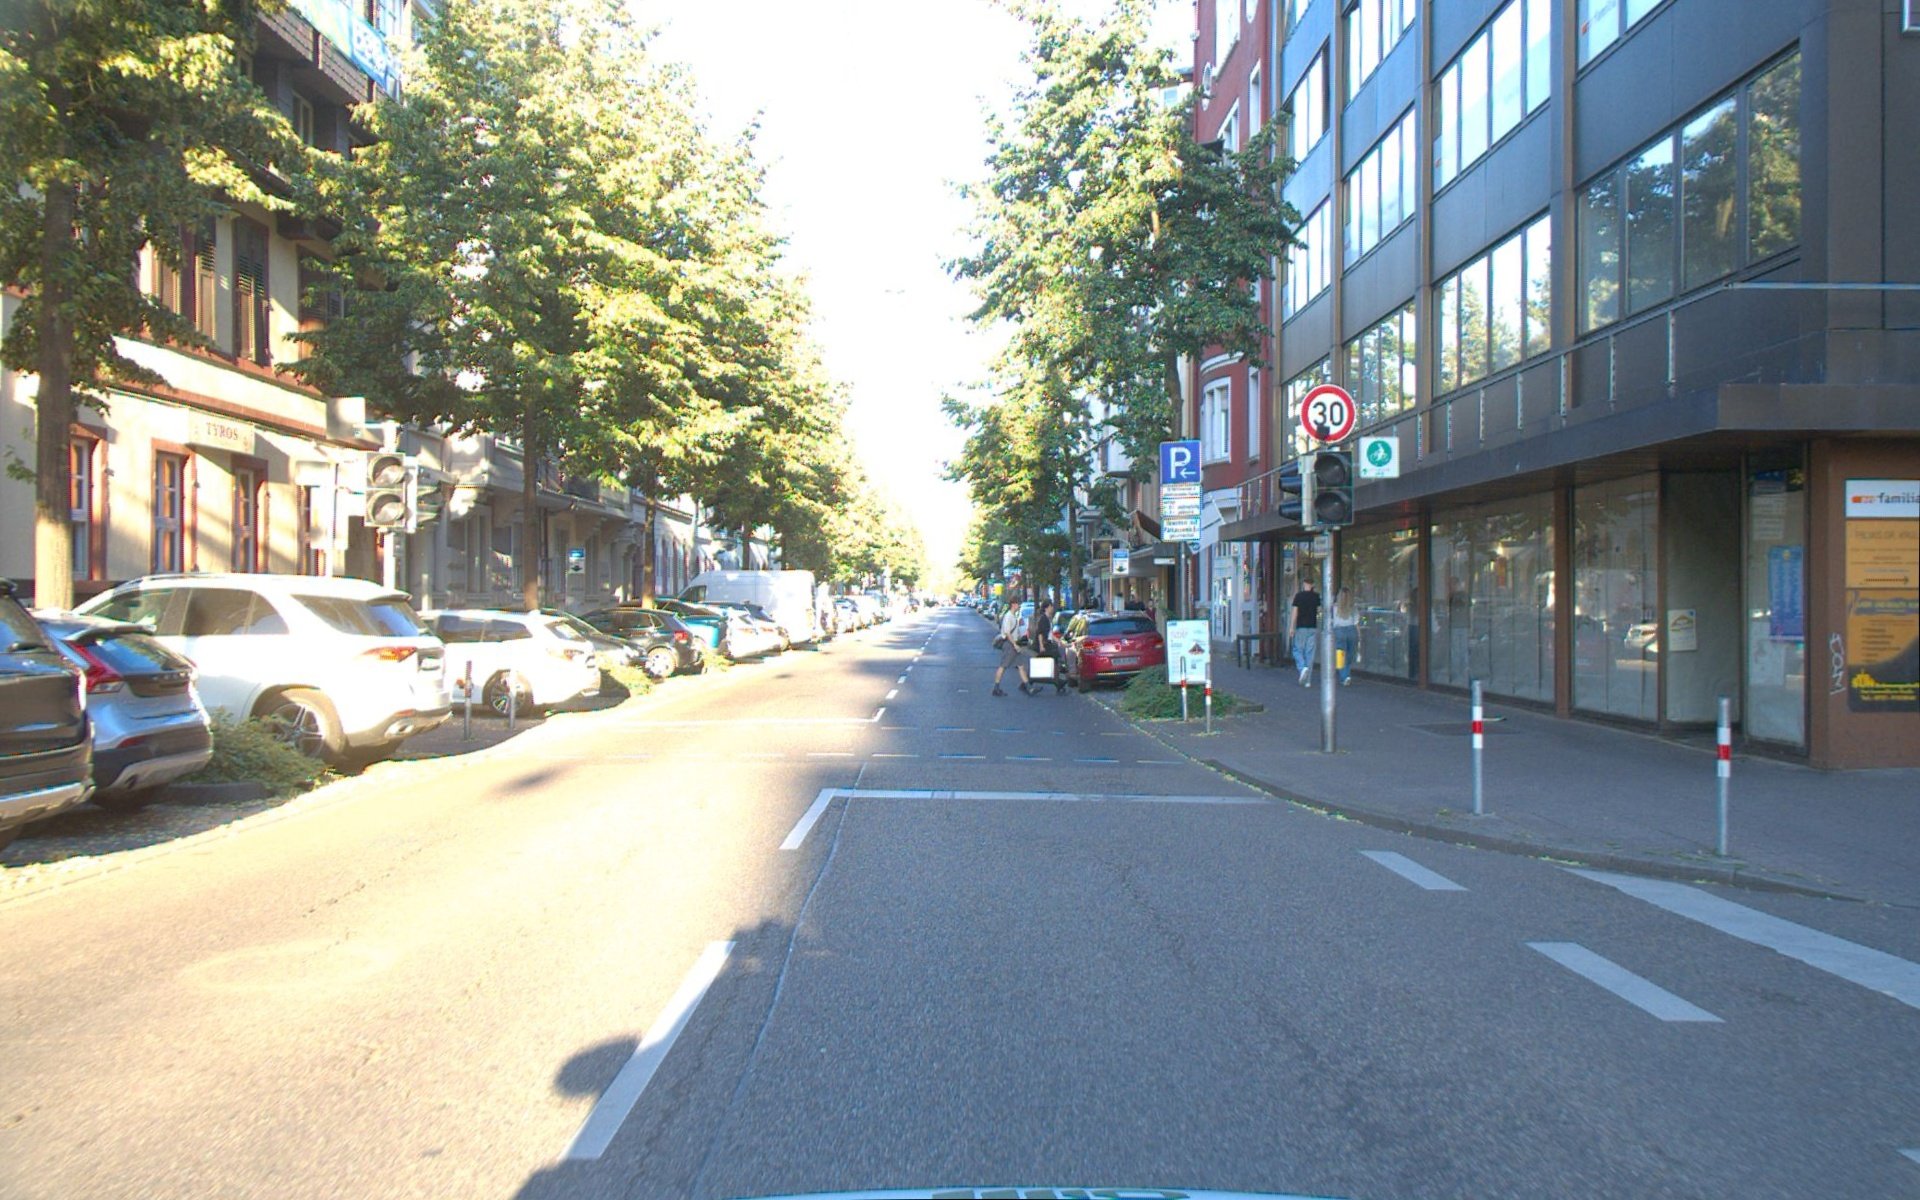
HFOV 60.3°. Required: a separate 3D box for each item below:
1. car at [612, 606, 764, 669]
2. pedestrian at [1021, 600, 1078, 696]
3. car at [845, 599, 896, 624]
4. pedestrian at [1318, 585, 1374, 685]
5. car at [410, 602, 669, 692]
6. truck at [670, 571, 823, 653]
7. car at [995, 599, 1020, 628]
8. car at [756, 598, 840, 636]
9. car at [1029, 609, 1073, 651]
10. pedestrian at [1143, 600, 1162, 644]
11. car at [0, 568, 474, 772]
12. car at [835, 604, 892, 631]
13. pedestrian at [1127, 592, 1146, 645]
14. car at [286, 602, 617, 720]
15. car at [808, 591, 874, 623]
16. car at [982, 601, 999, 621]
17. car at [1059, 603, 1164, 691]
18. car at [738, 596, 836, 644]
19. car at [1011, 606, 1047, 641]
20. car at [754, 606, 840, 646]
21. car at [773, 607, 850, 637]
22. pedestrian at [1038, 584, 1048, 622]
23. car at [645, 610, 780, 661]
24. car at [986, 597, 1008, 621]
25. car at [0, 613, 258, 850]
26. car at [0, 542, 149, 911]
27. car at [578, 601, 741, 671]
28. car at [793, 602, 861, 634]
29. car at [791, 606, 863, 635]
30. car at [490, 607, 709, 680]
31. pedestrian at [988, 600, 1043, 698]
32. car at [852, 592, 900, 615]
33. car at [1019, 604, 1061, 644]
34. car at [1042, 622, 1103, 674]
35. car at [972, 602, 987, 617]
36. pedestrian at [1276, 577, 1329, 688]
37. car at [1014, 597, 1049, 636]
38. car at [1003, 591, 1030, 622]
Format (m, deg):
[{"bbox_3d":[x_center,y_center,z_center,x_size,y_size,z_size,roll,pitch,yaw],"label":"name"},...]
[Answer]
[{"bbox_3d":[-7.099,0.973,43.471,3.663,1.624,2.000,0,0,-1],"label":"car"},{"bbox_3d":[1.652,0.871,30.547,0.717,1.712,0.747,0,1,-40],"label":"pedestrian"},{"bbox_3d":[-6.569,0.869,121.649,3.663,1.738,2.000,1,0,-1],"label":"car"},{"bbox_3d":[6.719,0.595,28.838,0.750,1.718,0.786,-1,0,-3],"label":"pedestrian"},{"bbox_3d":[-7.815,0.863,31.062,4.336,1.627,2.000,0,0,-1],"label":"car"},{"bbox_3d":[-7.073,0.397,55.068,4.840,2.661,2.000,0,0,-1],"label":"truck"},{"bbox_3d":[2.739,0.788,95.746,1.282,1.628,2.659,1,-1,-3],"label":"car"},{"bbox_3d":[-7.430,0.762,76.076,3.663,1.738,2.000,0,0,-1],"label":"car"},{"bbox_3d":[2.961,0.978,54.161,1.182,1.323,2.659,1,-1,-3],"label":"car"},{"bbox_3d":[6.115,0.705,52.439,0.523,1.384,0.534,1,0,0],"label":"pedestrian"},{"bbox_3d":[-6.792,0.610,15.483,3.908,1.738,1.833,1,0,-1],"label":"car"},{"bbox_3d":[-6.503,1.181,111.768,3.663,1.738,2.000,1,0,-1],"label":"car"},{"bbox_3d":[5.530,0.567,51.948,0.523,1.650,0.534,1,0,0],"label":"pedestrian"},{"bbox_3d":[-7.188,0.846,23.705,4.090,1.533,2.000,1,0,-1],"label":"car"},{"bbox_3d":[-6.845,0.384,95.770,3.663,1.738,2.000,1,0,-1],"label":"car"},{"bbox_3d":[2.525,0.937,137.029,1.282,1.628,2.659,1,-1,-3],"label":"car"},{"bbox_3d":[2.900,0.892,32.303,1.545,1.570,3.395,-2,-1,-3],"label":"car"},{"bbox_3d":[-6.829,0.789,65.557,3.663,1.891,2.000,0,0,-1],"label":"car"},{"bbox_3d":[2.671,0.900,64.408,1.182,1.323,2.659,1,-1,-3],"label":"car"},{"bbox_3d":[-7.003,1.102,71.224,3.513,1.623,1.701,0,1,-1],"label":"car"},{"bbox_3d":[-7.444,1.095,83.145,3.663,1.475,2.000,0,0,-1],"label":"car"},{"bbox_3d":[4.503,0.171,89.644,0.440,2.049,0.424,1,0,-1],"label":"pedestrian"},{"bbox_3d":[-7.248,1.022,48.661,3.663,1.475,2.000,0,0,-1],"label":"car"},{"bbox_3d":[2.561,0.599,114.125,1.282,1.628,2.659,1,-1,-3],"label":"car"},{"bbox_3d":[-7.300,0.840,11.584,3.950,1.469,1.831,1,0,-1],"label":"car"},{"bbox_3d":[-7.029,0.608,8.815,4.358,1.867,2.033,1,0,-1],"label":"car"},{"bbox_3d":[-7.386,0.871,40.867,3.663,1.671,2.000,0,0,-1],"label":"car"},{"bbox_3d":[-7.389,1.003,92.174,3.663,1.738,2.000,0,0,-1],"label":"car"},{"bbox_3d":[-7.047,1.094,87.859,3.663,1.519,2.000,0,0,-1],"label":"car"},{"bbox_3d":[-7.784,0.923,36.037,4.336,1.529,2.000,0,0,-1],"label":"car"},{"bbox_3d":[0.995,0.866,29.704,0.710,1.702,0.700,0,1,-40],"label":"pedestrian"},{"bbox_3d":[-6.619,0.300,130.319,3.663,1.738,2.000,1,0,-1],"label":"car"},{"bbox_3d":[2.772,0.829,57.533,1.182,1.323,2.659,1,-1,-3],"label":"car"},{"bbox_3d":[2.973,1.251,44.084,1.278,1.315,3.012,0,-1,-3],"label":"car"},{"bbox_3d":[2.277,1.104,194.270,1.544,1.606,3.113,1,0,-2],"label":"car"},{"bbox_3d":[5.971,0.561,28.835,0.700,1.898,0.679,-2,0,-3],"label":"pedestrian"},{"bbox_3d":[3.076,0.719,71.685,1.282,1.628,2.659,1,-1,-3],"label":"car"},{"bbox_3d":[3.078,0.354,90.580,1.282,1.628,2.659,1,-1,-3],"label":"car"}]
